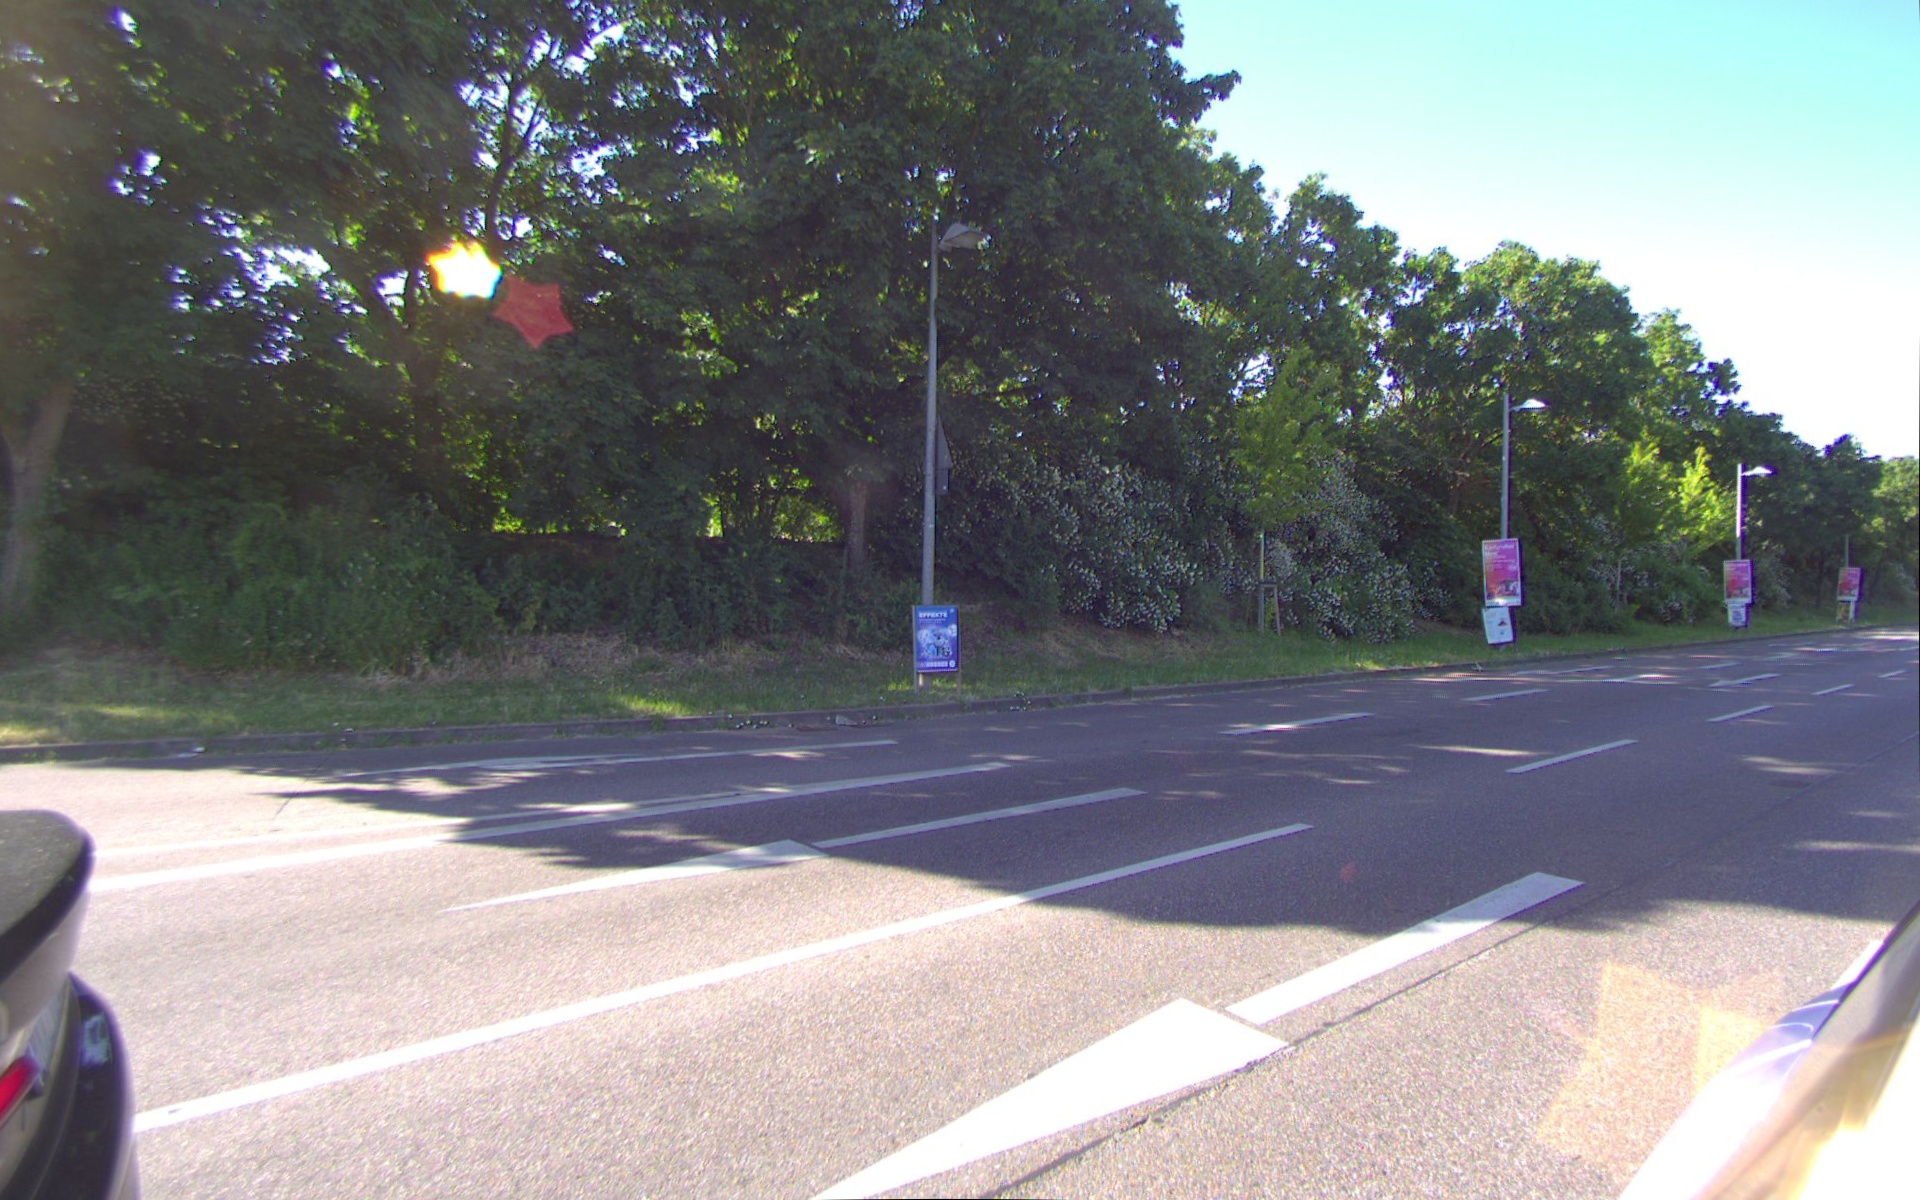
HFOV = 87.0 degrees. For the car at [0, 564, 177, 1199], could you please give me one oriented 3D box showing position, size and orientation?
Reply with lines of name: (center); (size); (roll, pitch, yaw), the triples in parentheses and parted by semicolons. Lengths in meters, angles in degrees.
car: (-3.031, 0.658, 0.317); (4.364, 1.415, 1.874); (0, 1, -40)
